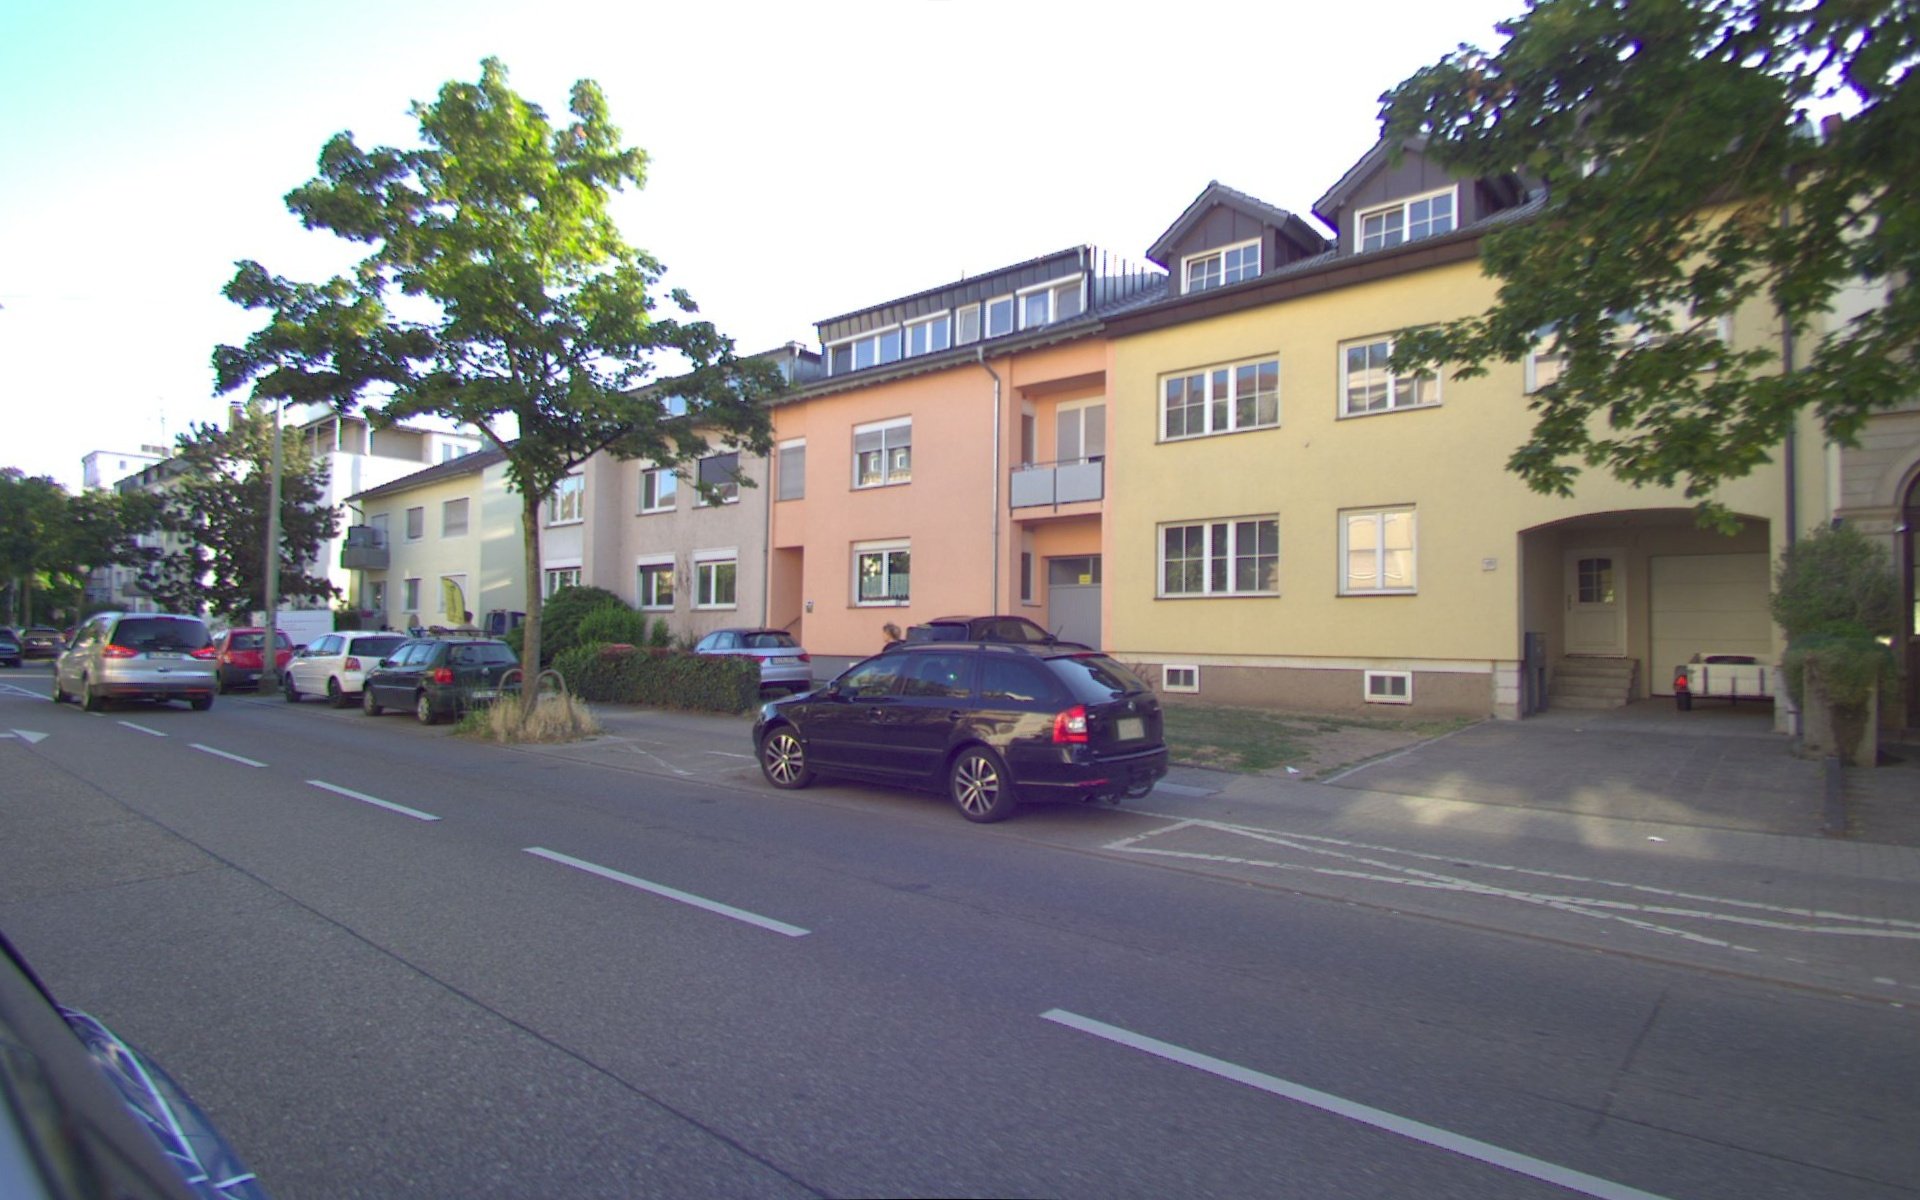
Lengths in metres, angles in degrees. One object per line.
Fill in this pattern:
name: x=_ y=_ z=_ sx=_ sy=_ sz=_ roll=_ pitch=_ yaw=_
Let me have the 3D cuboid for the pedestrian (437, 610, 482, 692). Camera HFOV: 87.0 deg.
pedestrian: x=-11.323 y=1.153 z=22.891 sx=0.572 sy=1.806 sz=0.706 roll=-2 pitch=-3 yaw=43

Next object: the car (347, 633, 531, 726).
car: x=-9.008 y=1.289 z=17.404 sx=3.663 sy=1.407 sz=1.527 roll=-1 pitch=-3 yaw=41

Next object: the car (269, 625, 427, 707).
car: x=-12.593 y=1.282 z=20.747 sx=3.887 sy=1.535 sz=1.577 roll=-1 pitch=-3 yaw=40

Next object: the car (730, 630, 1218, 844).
car: x=-0.062 y=1.065 z=9.592 sx=4.515 sy=1.506 sz=1.848 roll=-1 pitch=-1 yaw=41

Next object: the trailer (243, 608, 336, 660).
trailer: x=-27.153 y=1.392 z=41.028 sx=1.550 sy=2.029 sz=2.746 roll=-1 pitch=-3 yaw=38

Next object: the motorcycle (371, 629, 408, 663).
motorcycle: x=-23.783 y=1.915 z=42.166 sx=2.257 sy=1.384 sz=0.564 roll=-1 pitch=-3 yaw=41

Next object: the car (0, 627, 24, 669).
car: x=-35.396 y=1.694 z=36.503 sx=4.530 sy=1.463 sz=1.742 roll=-1 pitch=-5 yaw=40

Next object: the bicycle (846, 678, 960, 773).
bicycle: x=-0.737 y=1.562 z=12.841 sx=1.533 sy=1.072 sz=0.481 roll=-1 pitch=-3 yaw=40

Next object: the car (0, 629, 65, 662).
car: x=-41.877 y=2.026 z=45.650 sx=4.441 sy=1.418 sz=1.620 roll=-1 pitch=-3 yaw=40

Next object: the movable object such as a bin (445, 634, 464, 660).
movable object such as a bin: x=-20.092 y=1.873 z=40.216 sx=0.449 sy=1.026 sz=0.497 roll=-1 pitch=-3 yaw=40

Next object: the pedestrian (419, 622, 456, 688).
pedestrian: x=-12.229 y=1.279 z=23.690 sx=0.542 sy=1.507 sz=0.583 roll=-2 pitch=-3 yaw=43

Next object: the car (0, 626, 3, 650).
car: x=-59.404 y=2.282 z=61.272 sx=3.634 sy=1.475 sz=1.717 roll=-1 pitch=-3 yaw=41

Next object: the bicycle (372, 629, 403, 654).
bicycle: x=-25.775 y=1.858 z=45.564 sx=2.044 sy=1.072 sz=0.514 roll=-1 pitch=-3 yaw=41

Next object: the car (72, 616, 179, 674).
car: x=-27.934 y=1.464 z=33.833 sx=4.722 sy=1.793 sz=1.868 roll=-1 pitch=-3 yaw=40

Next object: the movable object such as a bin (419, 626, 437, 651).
movable object such as a bin: x=-22.054 y=1.588 z=41.982 sx=0.449 sy=1.026 sz=0.497 roll=-1 pitch=-3 yaw=40

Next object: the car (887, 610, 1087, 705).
car: x=0.617 y=1.044 z=20.030 sx=1.865 sy=1.648 sz=3.945 roll=-1 pitch=-1 yaw=41

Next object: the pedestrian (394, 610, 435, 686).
pedestrian: x=-13.195 y=1.147 z=24.503 sx=0.506 sy=1.806 sz=0.706 roll=-2 pitch=-3 yaw=43

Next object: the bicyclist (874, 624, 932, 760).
bicyclist: x=-0.725 y=1.151 z=12.873 sx=0.552 sy=1.676 sz=0.464 roll=-1 pitch=-3 yaw=40

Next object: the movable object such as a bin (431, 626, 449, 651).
movable object such as a bin: x=-21.253 y=1.571 z=41.383 sx=0.449 sy=1.026 sz=0.497 roll=-1 pitch=-3 yaw=40

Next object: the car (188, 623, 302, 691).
car: x=-17.237 y=1.325 z=24.356 sx=3.437 sy=1.535 sz=1.575 roll=-1 pitch=-3 yaw=44

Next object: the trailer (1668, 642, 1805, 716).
trailer: x=12.598 y=1.227 z=16.383 sx=1.626 sy=0.967 sz=2.379 roll=-1 pitch=0 yaw=41

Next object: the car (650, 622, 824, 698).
car: x=-4.672 y=1.202 z=20.981 sx=3.752 sy=1.420 sz=1.647 roll=-1 pitch=-4 yaw=42

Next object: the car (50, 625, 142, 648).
car: x=-59.356 y=2.472 z=69.572 sx=1.734 sy=1.416 sz=4.516 roll=-1 pitch=0 yaw=30

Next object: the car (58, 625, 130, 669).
car: x=-32.125 y=1.723 z=37.530 sx=2.747 sy=1.567 sz=1.557 roll=-1 pitch=-3 yaw=40

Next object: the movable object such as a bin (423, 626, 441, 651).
movable object such as a bin: x=-21.798 y=1.583 z=41.783 sx=0.449 sy=1.026 sz=0.497 roll=-1 pitch=-3 yaw=40

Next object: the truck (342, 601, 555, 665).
truck: x=-19.121 y=1.259 z=38.243 sx=2.275 sy=2.202 sz=6.823 roll=-1 pitch=-3 yaw=40

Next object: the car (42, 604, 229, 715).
car: x=-15.383 y=1.056 z=18.786 sx=4.742 sy=1.818 sz=1.787 roll=-1 pitch=-4 yaw=41
